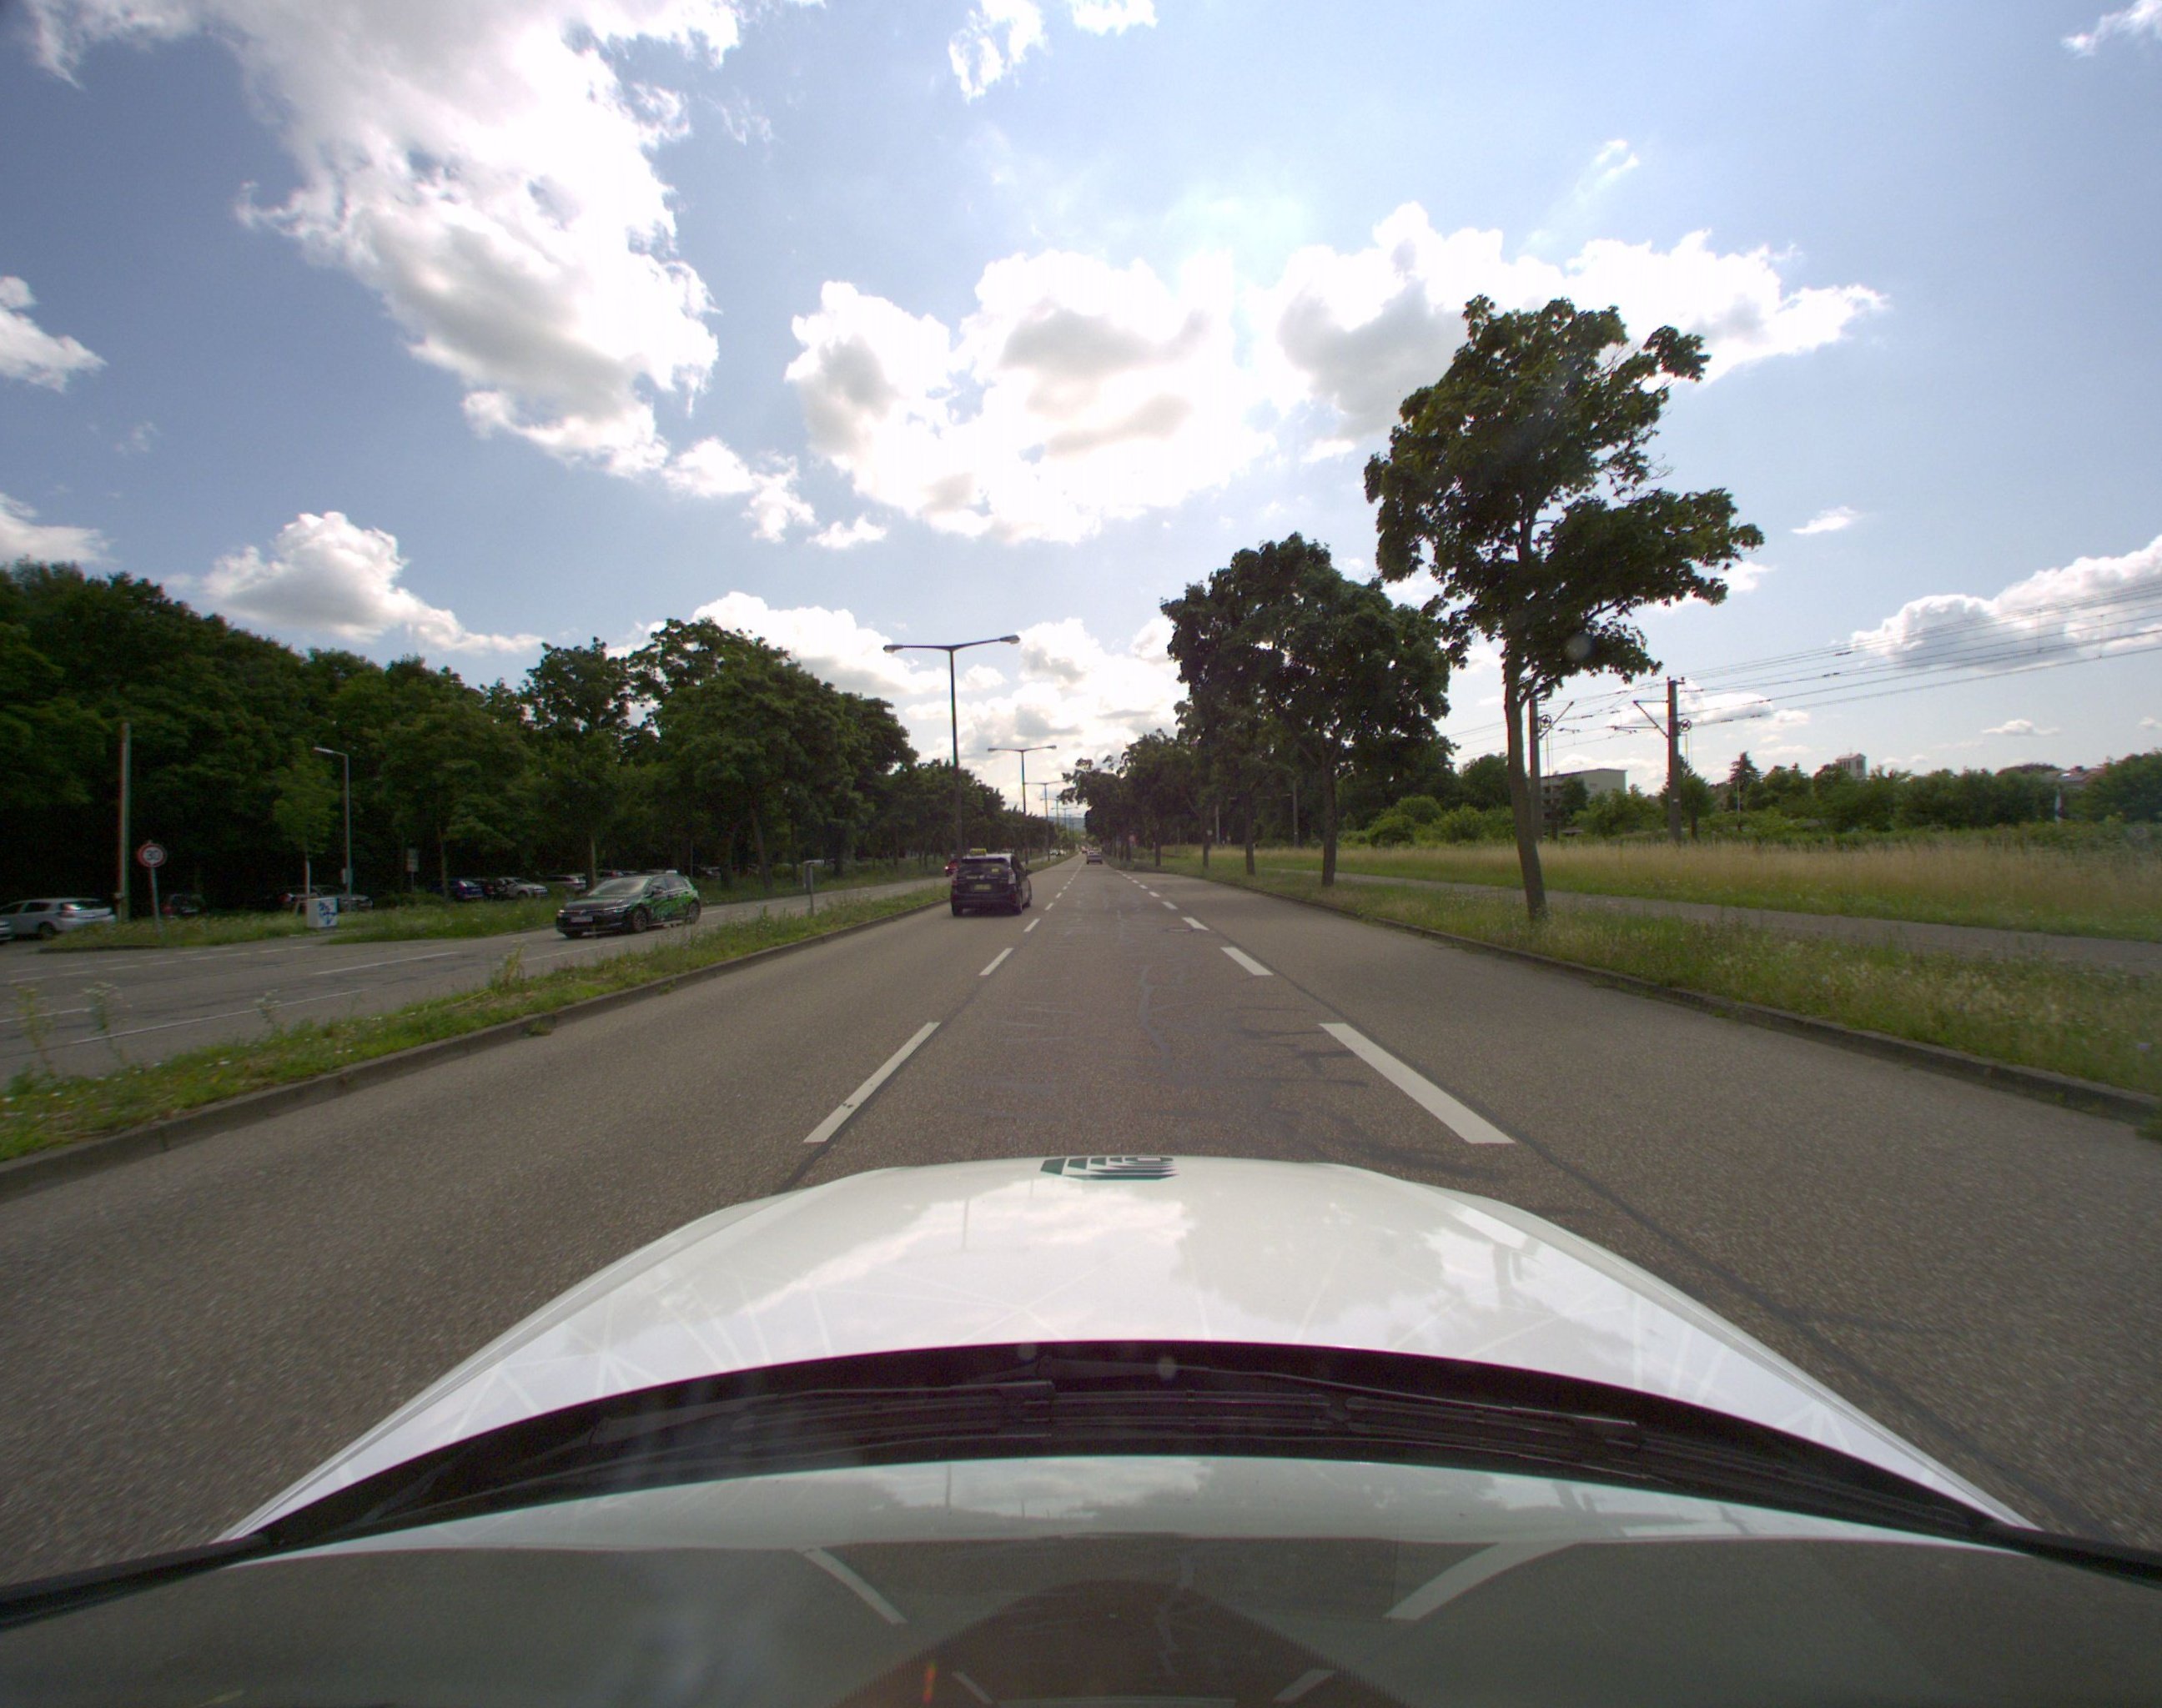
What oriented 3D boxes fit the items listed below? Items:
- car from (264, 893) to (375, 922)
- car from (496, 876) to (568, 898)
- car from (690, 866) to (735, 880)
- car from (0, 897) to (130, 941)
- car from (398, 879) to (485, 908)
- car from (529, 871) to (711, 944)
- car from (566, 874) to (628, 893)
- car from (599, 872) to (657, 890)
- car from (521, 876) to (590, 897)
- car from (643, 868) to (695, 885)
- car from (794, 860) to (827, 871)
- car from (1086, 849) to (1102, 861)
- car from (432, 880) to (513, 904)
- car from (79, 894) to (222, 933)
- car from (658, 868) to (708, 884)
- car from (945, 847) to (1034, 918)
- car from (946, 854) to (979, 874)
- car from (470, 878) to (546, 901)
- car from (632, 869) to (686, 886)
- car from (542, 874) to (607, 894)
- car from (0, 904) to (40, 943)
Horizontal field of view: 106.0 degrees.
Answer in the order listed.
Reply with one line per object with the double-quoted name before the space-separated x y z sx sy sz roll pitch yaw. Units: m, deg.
"car" -37.723 2.624 40.401 3.771 1.247 1.786 -1 1 1
"car" -37.508 2.268 55.654 3.766 1.387 1.788 -1 1 5
"car" -37.640 1.946 83.206 3.766 1.387 1.788 -1 1 5
"car" -38.081 2.371 30.107 3.771 1.428 1.786 -1 1 1
"car" -37.635 2.342 47.967 3.766 1.568 1.788 -1 1 5
"car" -11.357 1.250 20.474 1.746 1.459 4.475 -1 1 4
"car" -37.591 2.275 63.358 3.766 1.387 1.788 -1 1 5
"car" -37.356 2.206 67.173 3.766 1.387 1.788 -1 1 5
"car" -37.404 2.330 58.004 3.766 1.387 1.788 -1 1 5
"car" -37.109 2.022 73.365 3.766 1.387 1.788 -1 1 5
"car" -36.703 1.549 110.538 3.766 1.387 1.788 -1 1 5
"car" 1.635 0.104 101.723 1.987 1.508 4.000 -1 1 0
"car" -37.850 2.358 50.722 3.766 1.387 1.788 -1 1 5
"car" -37.810 2.415 33.153 3.771 1.386 1.786 -1 1 1
"car" -36.948 2.055 75.674 3.766 1.387 1.788 -1 1 5
"car" -2.337 0.685 21.775 1.772 1.684 4.002 -1 1 2
"car" -9.697 0.813 66.932 1.870 1.508 3.803 -1 1 5
"car" -37.492 2.320 53.339 3.766 1.387 1.788 -1 1 5
"car" -37.047 2.072 71.556 3.766 1.387 1.788 -1 1 5
"car" -37.702 2.210 60.663 3.765 1.387 1.789 -1 1 6
"car" -38.278 2.395 27.613 3.769 1.247 1.787 -1 1 3
